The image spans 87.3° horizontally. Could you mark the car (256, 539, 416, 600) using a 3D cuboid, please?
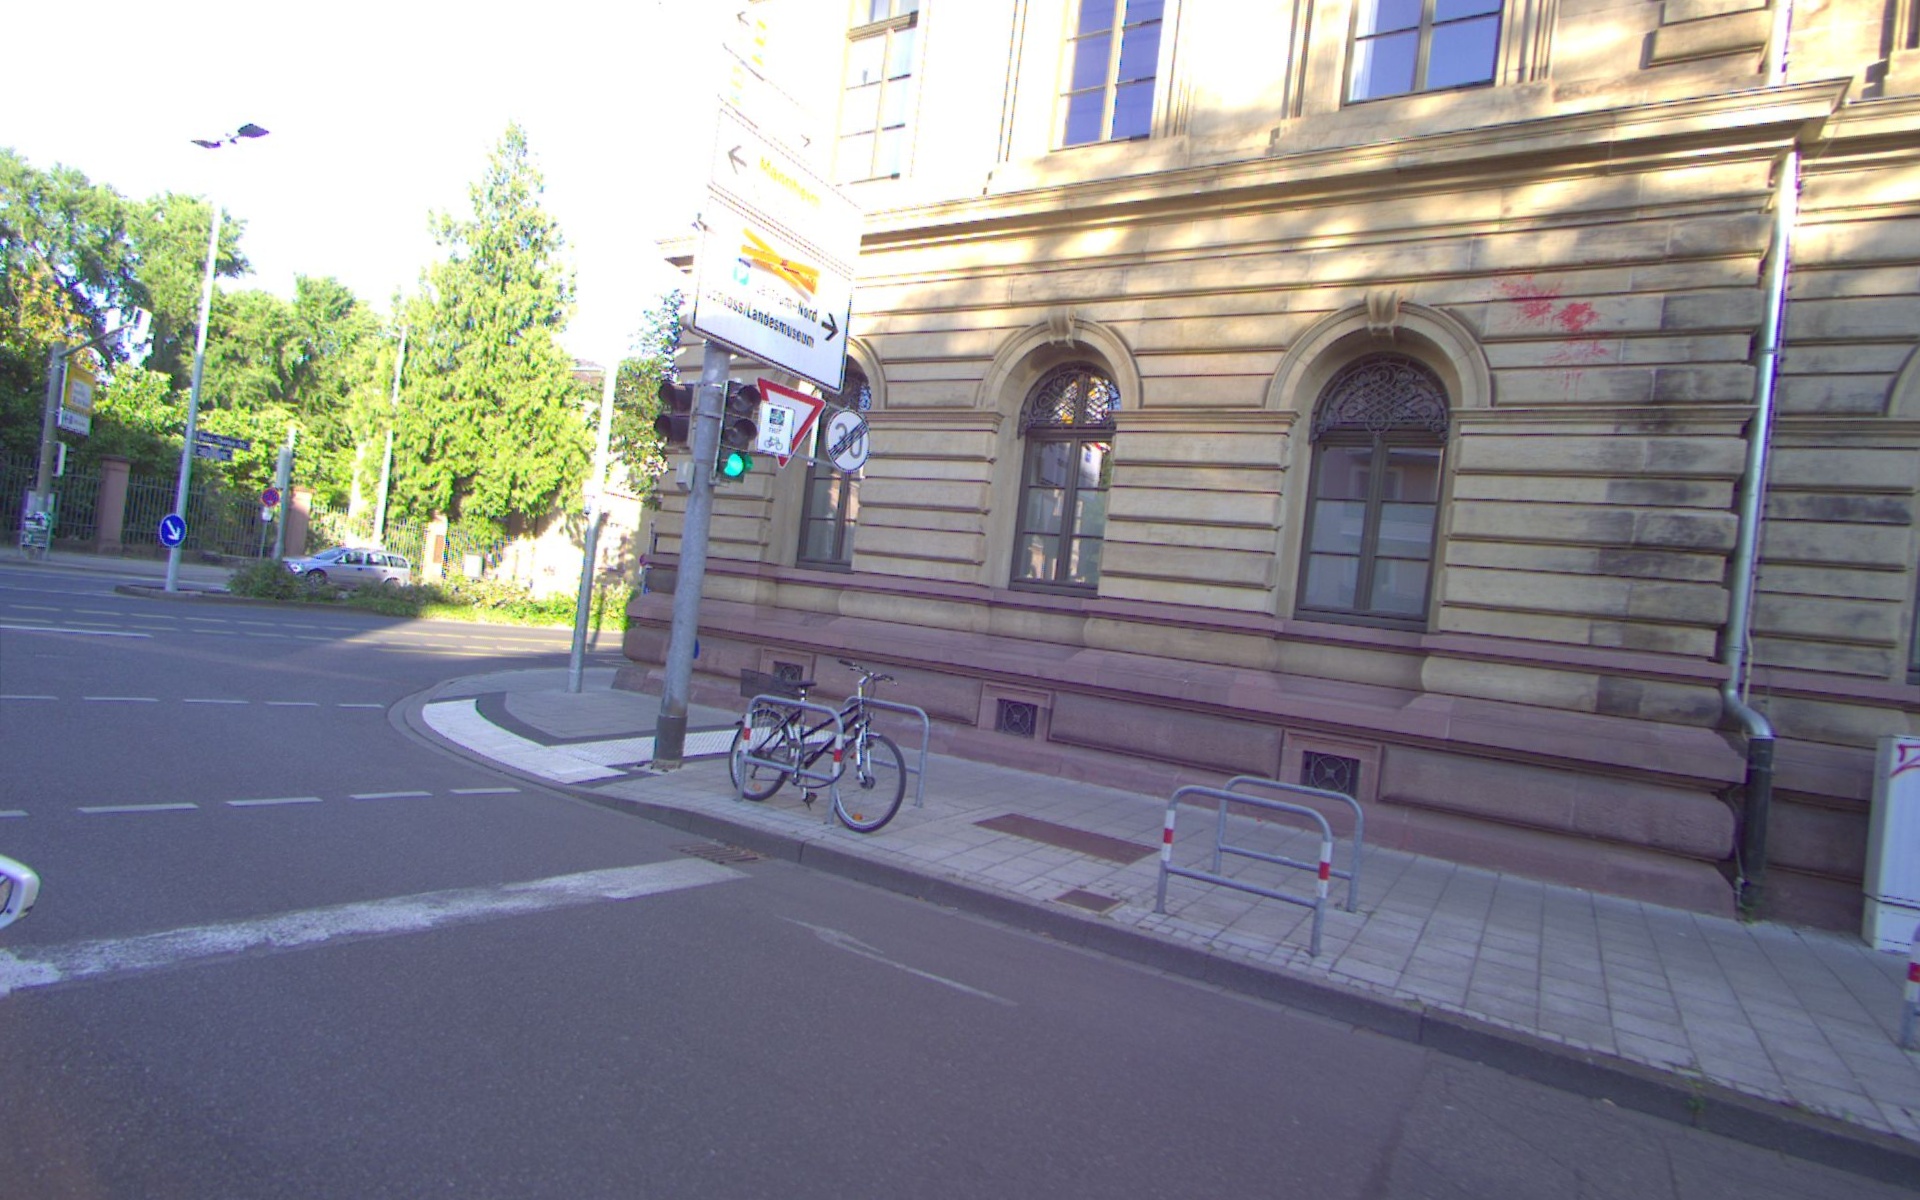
[{"bbox_3d":[-20.889,-0.991,33.863,1.685,1.462,4.196,7,-1,27],"label":"car"}]

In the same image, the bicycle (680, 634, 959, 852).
[{"bbox_3d":[-1.013,0.929,7.000,1.889,1.202,0.583,5,-2,32],"label":"bicycle"}]
